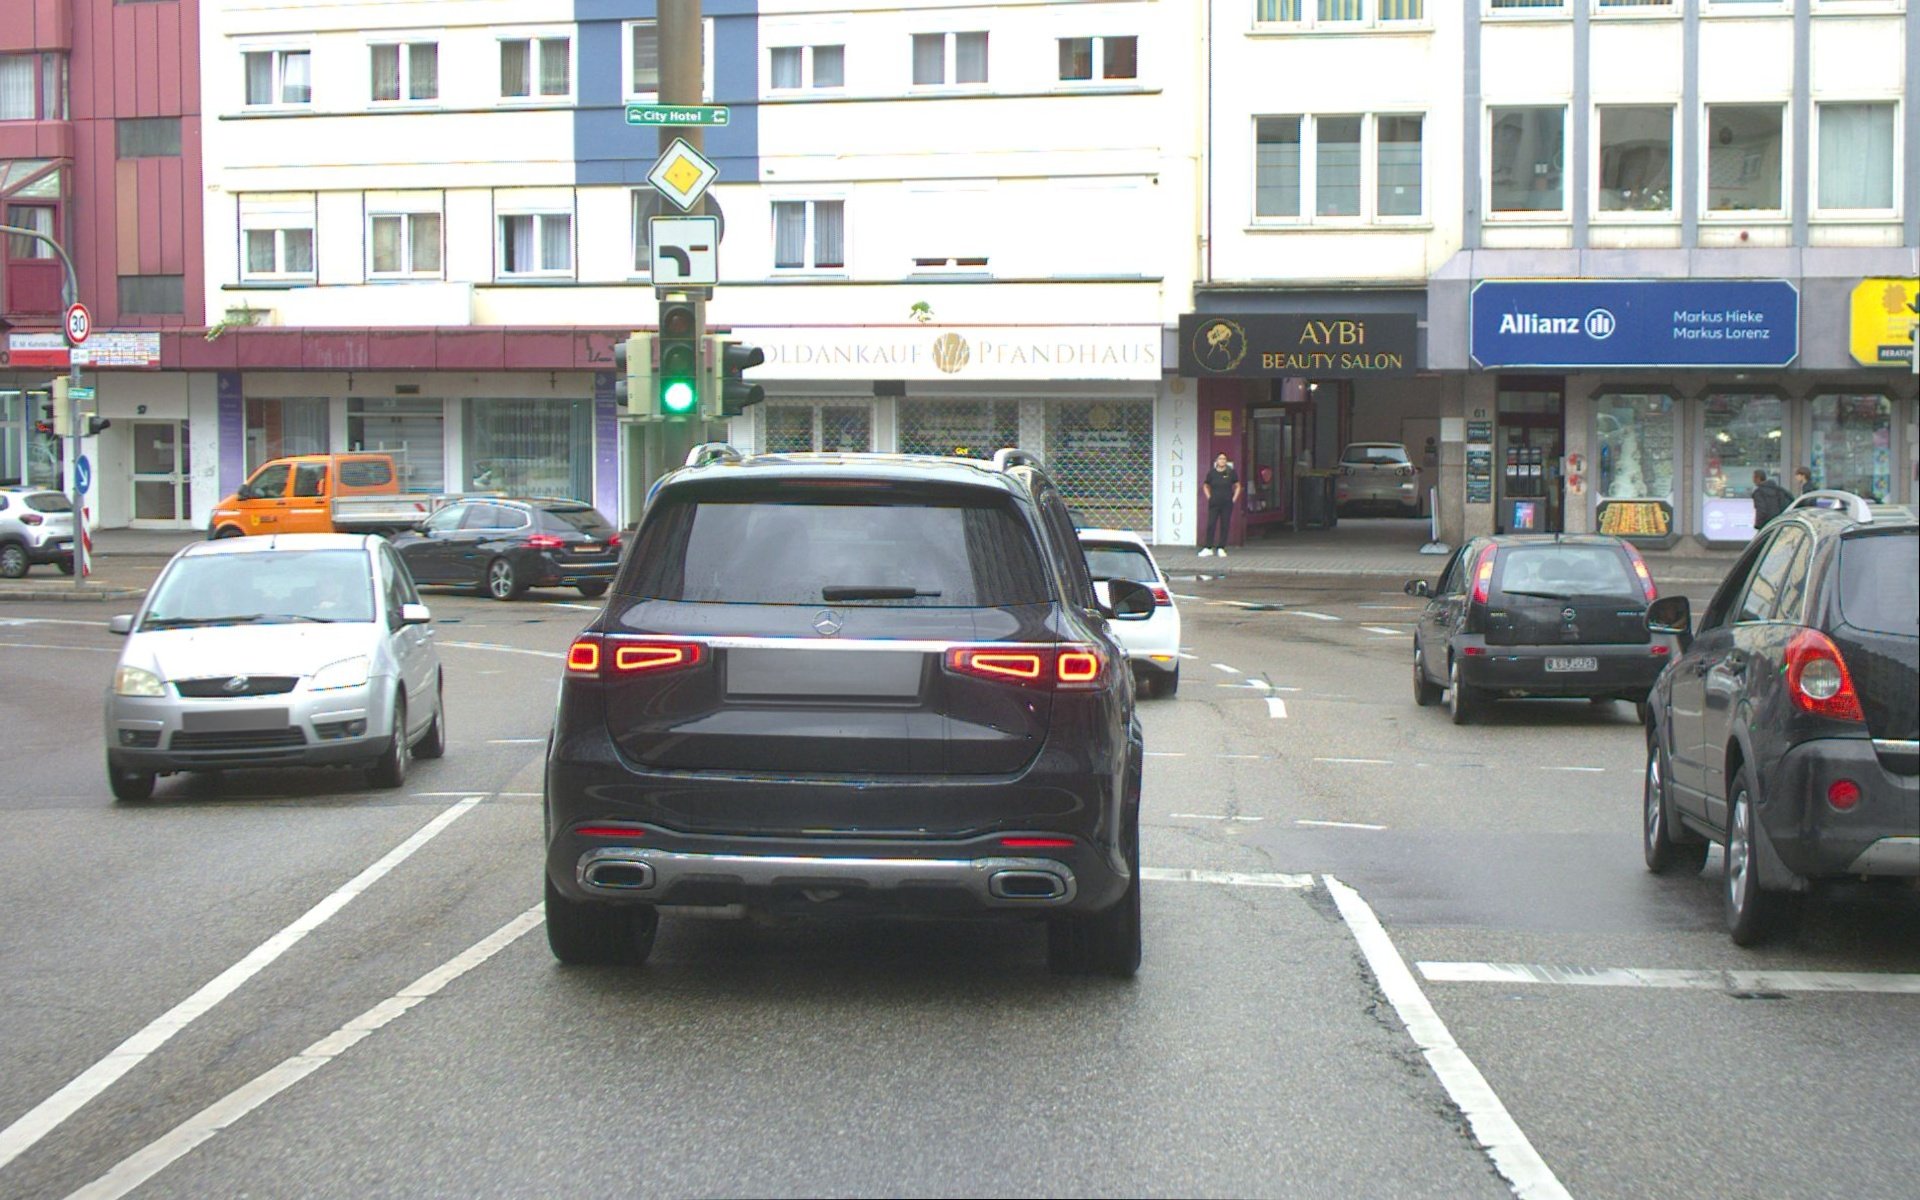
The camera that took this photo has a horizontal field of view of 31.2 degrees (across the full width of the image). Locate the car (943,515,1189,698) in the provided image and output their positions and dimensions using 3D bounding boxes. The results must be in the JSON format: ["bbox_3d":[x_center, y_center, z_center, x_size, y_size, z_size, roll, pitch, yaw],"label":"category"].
[{"bbox_3d":[0.882,0.003,31.176,1.873,1.489,4.401,1,1,-3],"label":"car"}]

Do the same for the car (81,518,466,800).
[{"bbox_3d":[-4.317,0.318,22.221,1.735,1.587,4.176,-2,1,-2],"label":"car"}]

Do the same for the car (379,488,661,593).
[{"bbox_3d":[-6.515,-0.889,50.632,1.995,1.481,4.234,-2,2,-43],"label":"car"}]

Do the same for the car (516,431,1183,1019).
[{"bbox_3d":[-0.459,0.339,13.073,2.038,1.792,4.663,1,1,-3],"label":"car"}]

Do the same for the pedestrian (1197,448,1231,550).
[{"bbox_3d":[4.328,-1.725,58.584,0.564,1.683,0.756,0,7,5],"label":"pedestrian"}]

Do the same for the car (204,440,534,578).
[{"bbox_3d":[-10.208,-1.574,59.254,5.420,2.220,2.246,2,1,31],"label":"car"}]

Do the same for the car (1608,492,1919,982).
[{"bbox_3d":[3.929,0.450,14.174,1.898,1.689,4.505,2,1,4],"label":"car"}]

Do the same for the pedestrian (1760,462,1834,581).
[{"bbox_3d":[13.258,-1.251,54.472,1.030,1.793,0.830,0,7,8],"label":"pedestrian"}]

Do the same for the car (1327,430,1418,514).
[{"bbox_3d":[8.440,-2.592,70.174,1.797,1.664,3.999,0,1,8],"label":"car"}]

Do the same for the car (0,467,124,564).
[{"bbox_3d":[-16.684,-1.468,58.398,4.655,1.510,1.928,2,0,28],"label":"car"}]

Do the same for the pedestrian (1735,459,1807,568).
[{"bbox_3d":[13.180,-1.415,55.900,1.030,1.683,0.830,0,7,8],"label":"pedestrian"}]

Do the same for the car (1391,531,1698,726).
[{"bbox_3d":[4.512,0.172,27.063,1.767,1.392,4.000,0,1,1],"label":"car"}]

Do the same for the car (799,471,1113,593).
[{"bbox_3d":[-0.102,-1.011,50.099,4.492,1.653,1.824,2,1,43],"label":"car"}]
